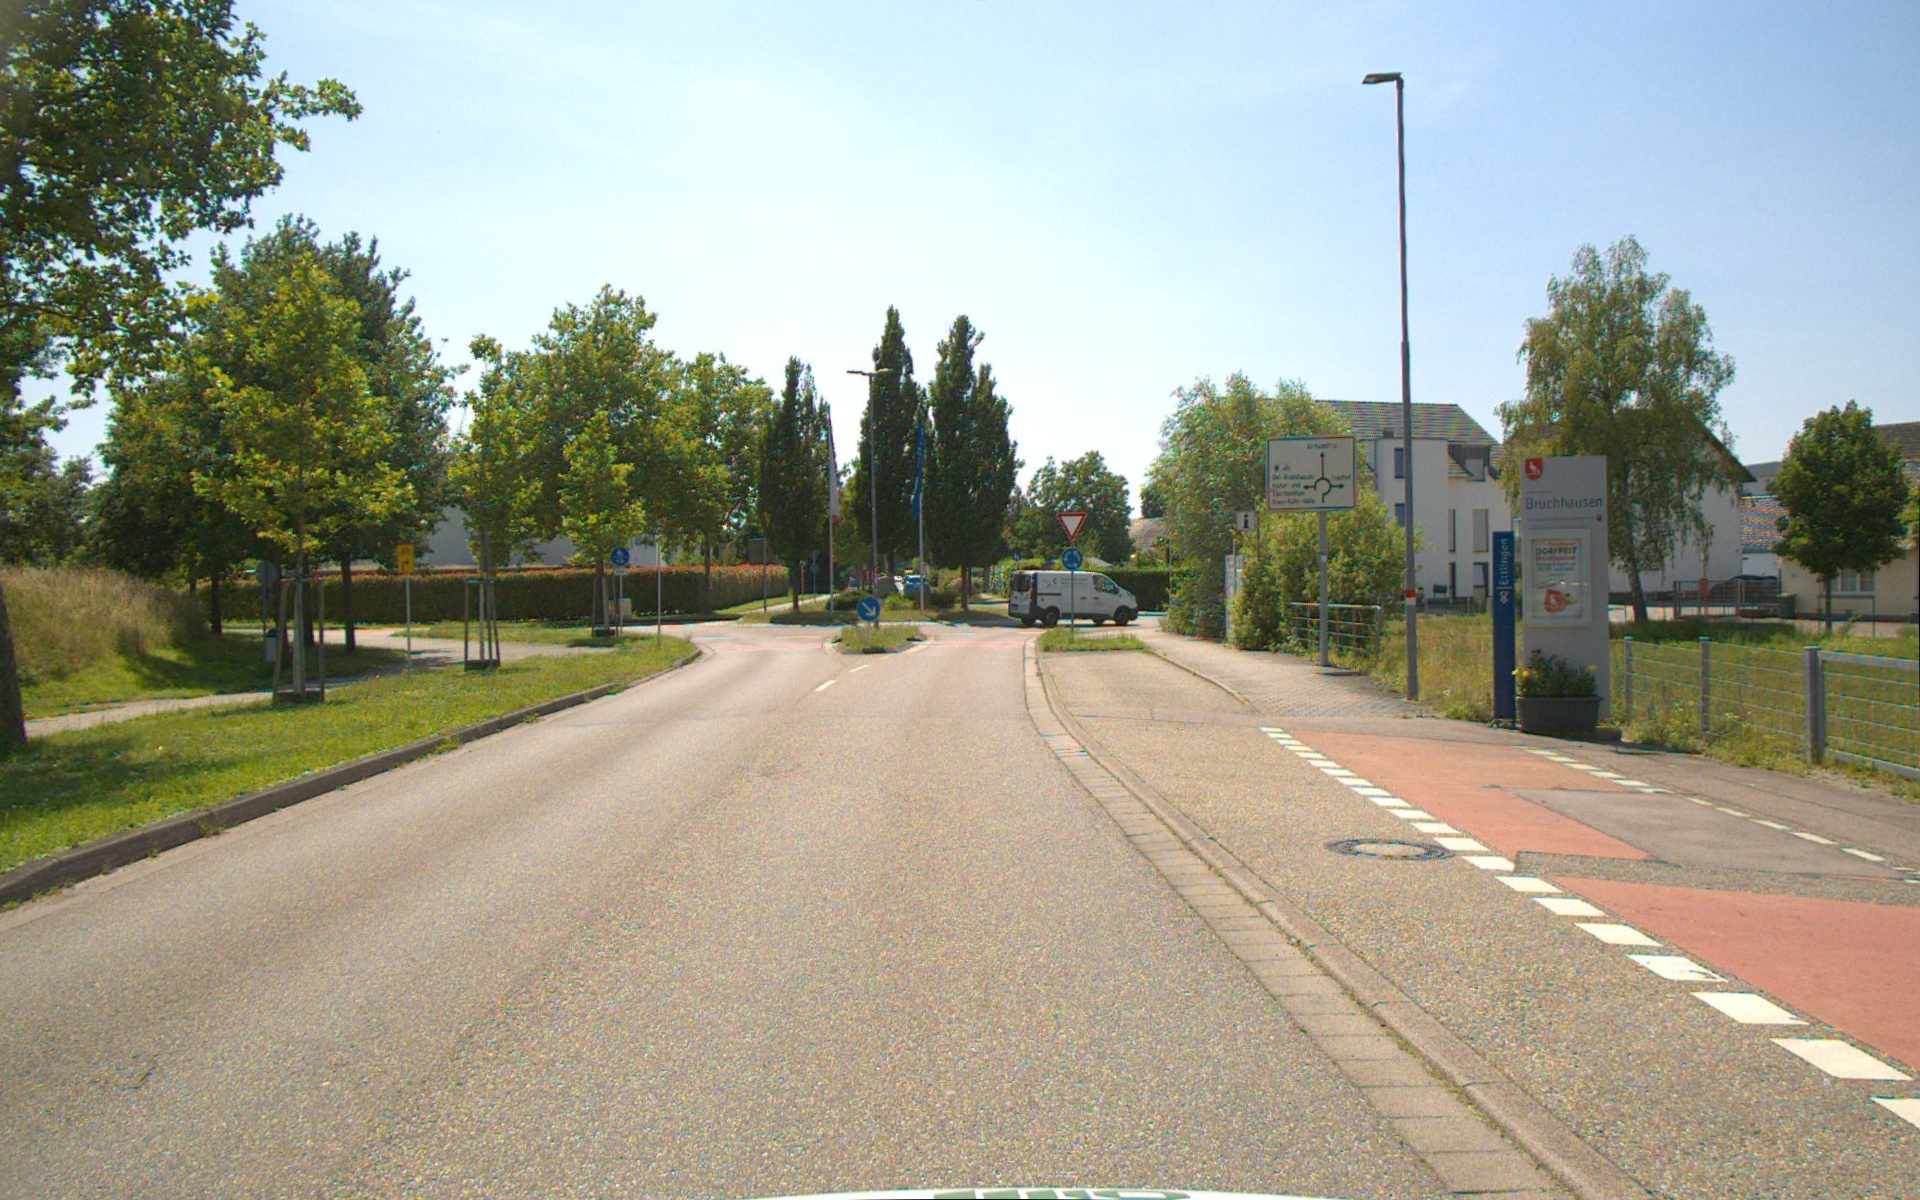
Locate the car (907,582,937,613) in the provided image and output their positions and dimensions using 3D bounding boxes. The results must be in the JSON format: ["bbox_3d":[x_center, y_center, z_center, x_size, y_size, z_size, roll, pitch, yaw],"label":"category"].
[{"bbox_3d":[-2.458,-0.168,106.488,1.884,1.919,3.998,0,0,-2],"label":"car"}]

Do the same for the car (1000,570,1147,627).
[{"bbox_3d":[4.190,-0.045,61.159,5.065,2.049,2.118,0,0,-25],"label":"car"}]
